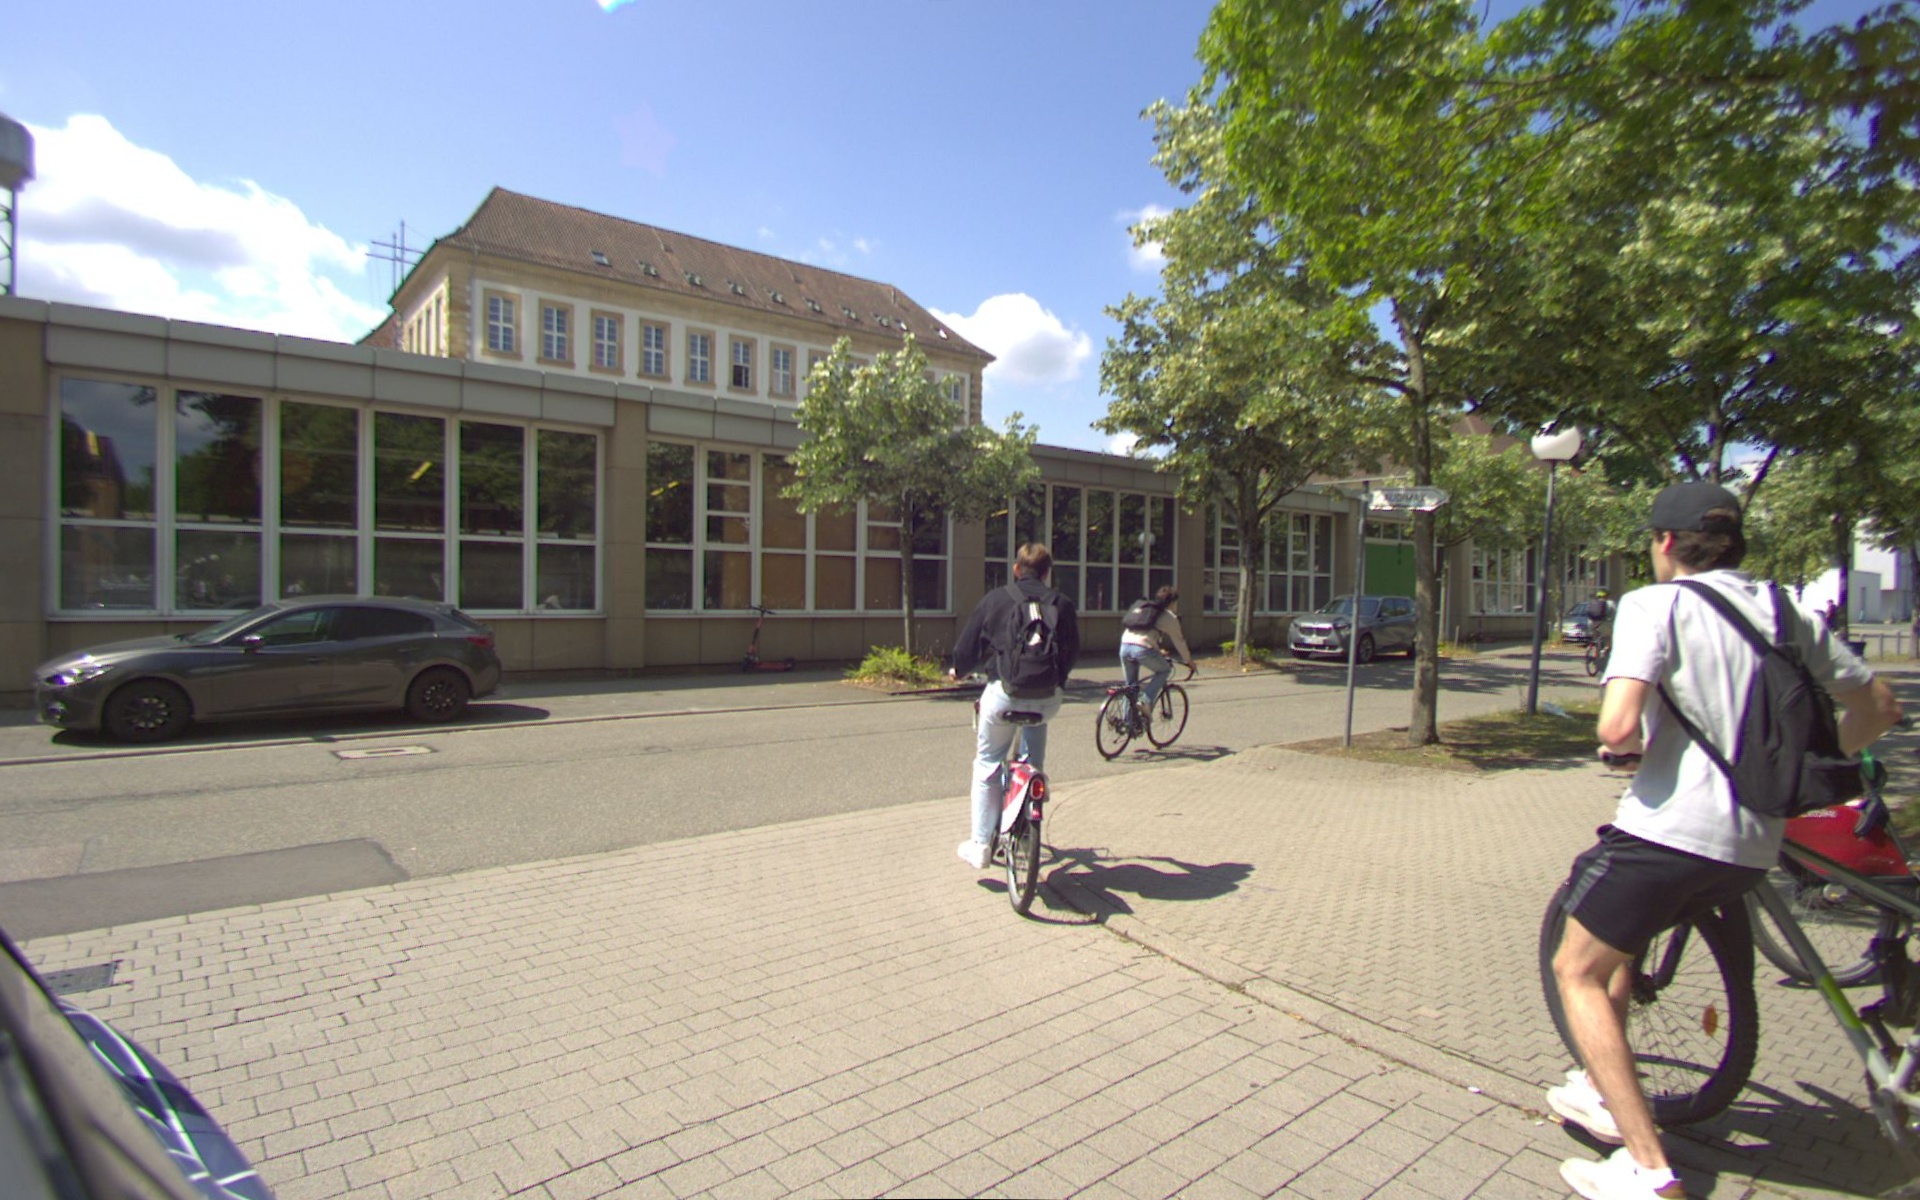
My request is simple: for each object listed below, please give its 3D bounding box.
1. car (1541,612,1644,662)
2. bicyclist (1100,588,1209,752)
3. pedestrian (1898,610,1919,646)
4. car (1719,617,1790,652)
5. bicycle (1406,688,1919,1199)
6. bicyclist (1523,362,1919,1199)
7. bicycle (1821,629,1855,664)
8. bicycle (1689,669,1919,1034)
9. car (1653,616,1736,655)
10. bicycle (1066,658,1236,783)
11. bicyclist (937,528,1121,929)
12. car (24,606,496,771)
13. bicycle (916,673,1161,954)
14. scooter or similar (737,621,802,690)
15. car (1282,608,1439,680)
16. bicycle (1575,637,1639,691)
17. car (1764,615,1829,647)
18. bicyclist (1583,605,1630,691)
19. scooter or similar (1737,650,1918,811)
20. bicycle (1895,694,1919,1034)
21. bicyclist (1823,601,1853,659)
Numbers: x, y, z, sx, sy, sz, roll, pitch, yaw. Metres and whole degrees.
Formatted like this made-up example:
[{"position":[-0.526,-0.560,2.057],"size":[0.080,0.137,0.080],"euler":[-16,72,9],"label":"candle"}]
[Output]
[{"position":[22.323,1.258,35.650],"size":[4.468,1.646,1.841],"euler":[1,-1,-41],"label":"car"},{"position":[1.992,0.692,10.383],"size":[0.860,1.585,0.642],"euler":[2,1,-37],"label":"bicyclist"},{"position":[48.281,1.391,51.350],"size":[0.766,1.788,0.898],"euler":[0,0,28],"label":"pedestrian"},{"position":[37.623,1.589,47.895],"size":[4.468,1.553,1.841],"euler":[1,-1,-41],"label":"car"},{"position":[2.022,0.840,2.108],"size":[0.791,1.181,1.892],"euler":[1,-2,-30],"label":"bicycle"},{"position":[1.916,0.518,2.256],"size":[0.791,1.906,0.870],"euler":[-1,1,-30],"label":"bicyclist"},{"position":[28.815,1.512,33.212],"size":[2.041,1.116,0.671],"euler":[2,-2,-45],"label":"bicycle"},{"position":[3.764,0.866,3.844],"size":[1.603,1.168,0.641],"euler":[0,-2,-10],"label":"bicycle"},{"position":[30.907,1.468,42.555],"size":[4.468,1.553,1.841],"euler":[1,-1,-41],"label":"car"},{"position":[1.984,1.187,10.399],"size":[1.790,1.116,0.642],"euler":[1,1,-37],"label":"bicycle"},{"position":[0.331,0.624,5.377],"size":[0.663,1.902,0.972],"euler":[0,-2,-17],"label":"bicyclist"},{"position":[-7.686,0.840,11.447],"size":[4.144,1.487,1.657],"euler":[0,2,-39],"label":"car"},{"position":[0.321,1.003,5.431],"size":[0.663,1.149,1.892],"euler":[0,-2,-17],"label":"bicycle"},{"position":[-3.487,0.997,18.547],"size":[1.139,1.235,0.290],"euler":[1,-1,-36],"label":"scooter or similar"},{"position":[10.326,1.061,25.950],"size":[4.468,1.629,1.841],"euler":[1,1,-41],"label":"car"},{"position":[14.105,1.374,22.036],"size":[2.040,1.116,0.606],"euler":[1,-2,-41],"label":"bicycle"},{"position":[42.689,1.574,51.637],"size":[4.468,1.553,1.841],"euler":[1,-1,-41],"label":"car"},{"position":[14.047,1.029,21.980],"size":[0.884,1.815,0.606],"euler":[1,-2,-41],"label":"bicyclist"},{"position":[6.696,1.000,7.825],"size":[1.168,1.204,0.293],"euler":[0,-1,-3],"label":"scooter or similar"},{"position":[4.057,0.863,3.251],"size":[1.718,1.116,0.591],"euler":[0,-2,-10],"label":"bicycle"},{"position":[28.820,0.978,33.216],"size":[0.815,1.889,0.671],"euler":[2,-2,-44],"label":"bicyclist"}]
